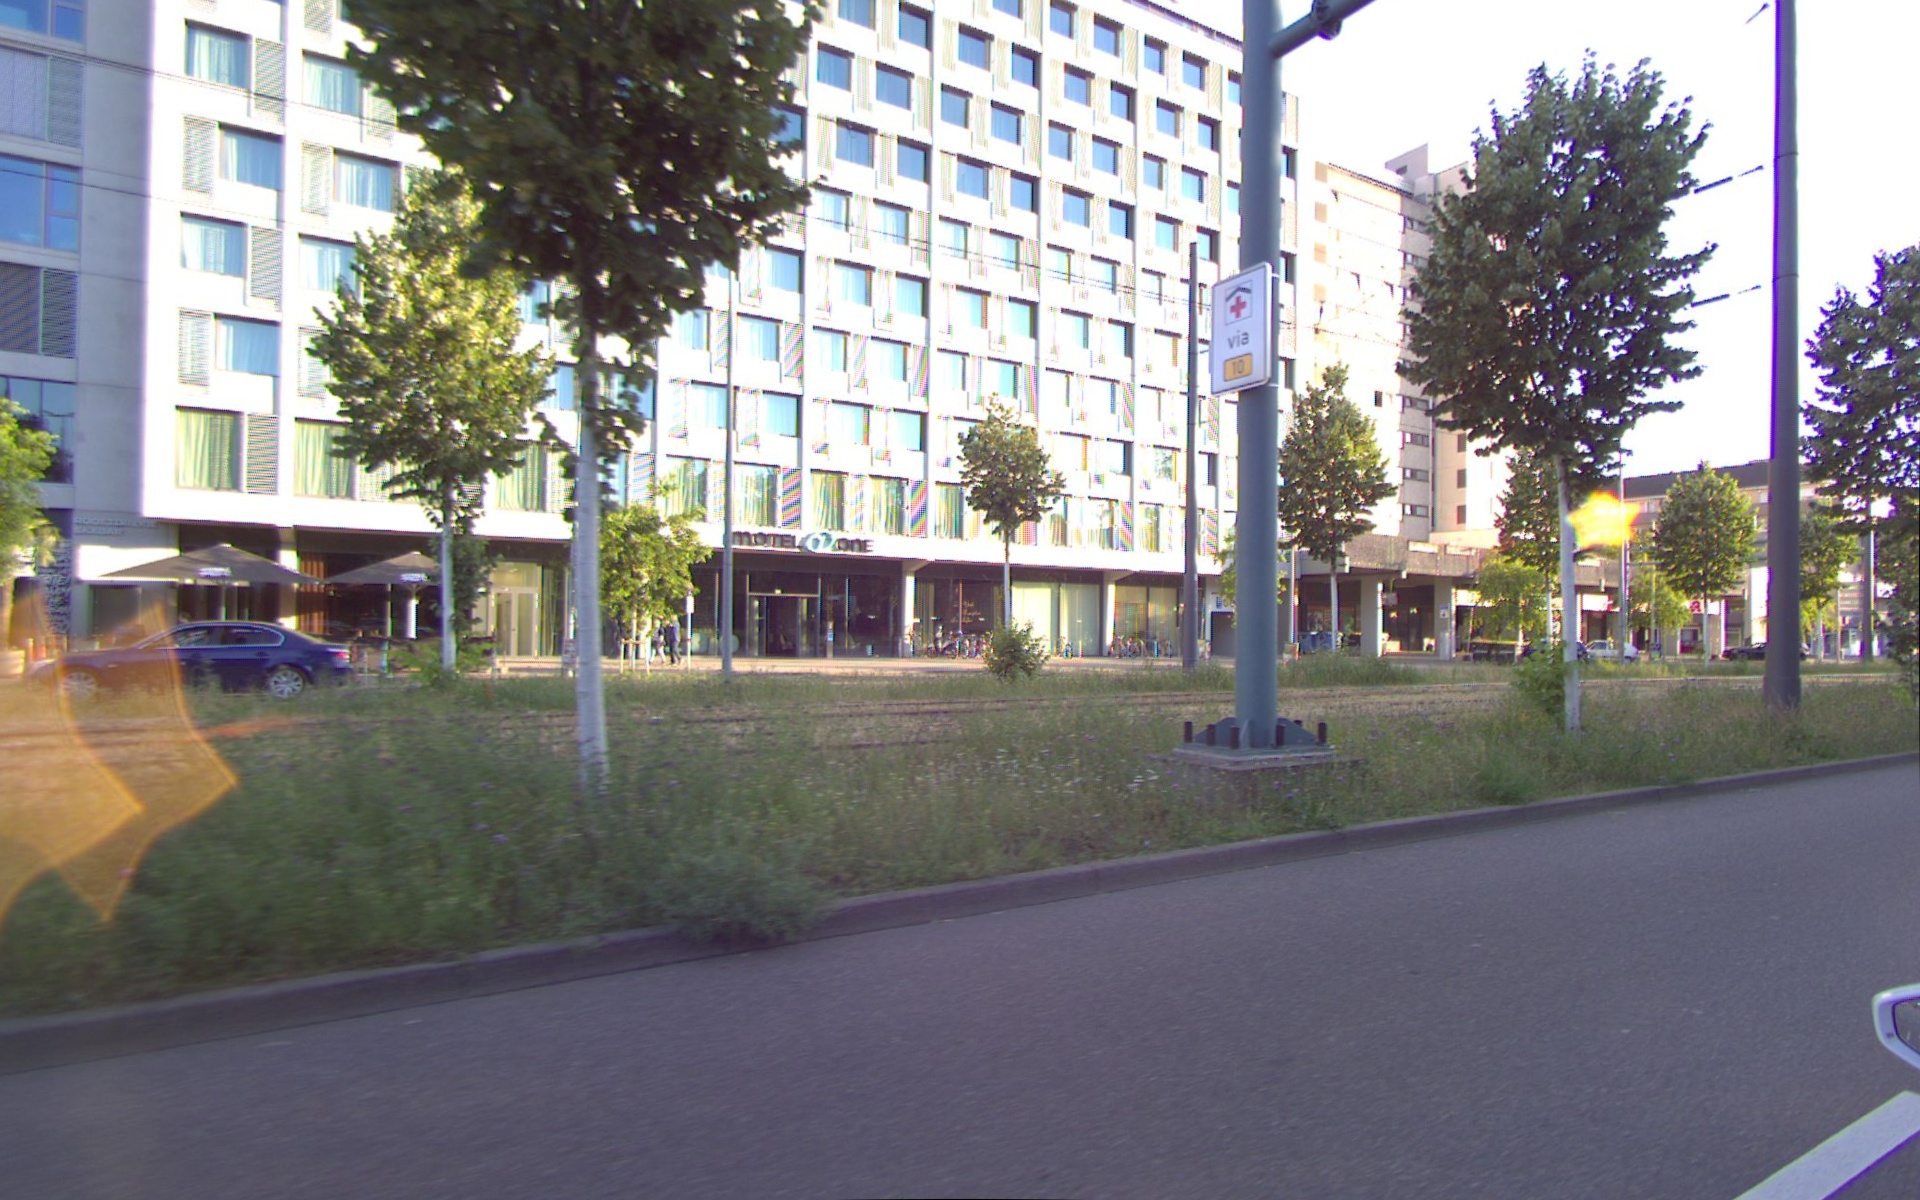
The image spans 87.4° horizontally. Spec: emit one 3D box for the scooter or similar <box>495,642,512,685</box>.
[{"bbox_3d":[-12.709,1.749,27.943,0.334,1.072,1.176,0,4,-30],"label":"scooter or similar"}]

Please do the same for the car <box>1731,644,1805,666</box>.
[{"bbox_3d":[57.046,3.913,70.993,3.657,1.469,1.745,0,-3,20],"label":"car"}]

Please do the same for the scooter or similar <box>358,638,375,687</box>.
[{"bbox_3d":[-15.530,1.619,26.281,0.334,1.233,1.176,1,-1,-30],"label":"scooter or similar"}]

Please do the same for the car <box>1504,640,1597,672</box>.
[{"bbox_3d":[33.194,3.122,56.620,4.201,1.611,2.009,1,-2,20],"label":"car"}]

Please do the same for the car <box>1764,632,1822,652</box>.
[{"bbox_3d":[82.294,4.166,99.279,2.167,1.870,3.913,2,-2,-31],"label":"car"}]

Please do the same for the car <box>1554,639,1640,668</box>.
[{"bbox_3d":[38.140,3.204,60.269,4.051,1.455,1.825,2,0,22],"label":"car"}]

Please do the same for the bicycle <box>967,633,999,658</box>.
[{"bbox_3d":[1.003,2.005,44.274,0.417,1.033,1.776,2,-2,-34],"label":"bicycle"}]

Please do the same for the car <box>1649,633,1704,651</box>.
[{"bbox_3d":[76.102,4.500,106.722,2.144,1.792,4.304,0,-3,-33],"label":"car"}]

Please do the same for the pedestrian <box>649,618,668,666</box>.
[{"bbox_3d":[-10.575,1.474,35.216,0.510,1.678,0.426,1,1,-30],"label":"pedestrian"}]

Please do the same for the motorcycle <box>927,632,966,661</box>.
[{"bbox_3d":[-0.616,2.009,43.795,1.872,1.187,0.513,0,-1,45],"label":"motorcycle"}]

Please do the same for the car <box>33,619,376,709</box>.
[{"bbox_3d":[-13.482,1.137,18.394,4.744,1.459,2.006,1,-3,-30],"label":"car"}]

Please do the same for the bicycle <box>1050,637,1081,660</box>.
[{"bbox_3d":[4.923,2.248,47.033,0.417,1.033,1.776,2,-2,-34],"label":"bicycle"}]

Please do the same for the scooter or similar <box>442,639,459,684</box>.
[{"bbox_3d":[-13.852,1.654,27.290,0.334,1.179,1.176,1,-2,-30],"label":"scooter or similar"}]

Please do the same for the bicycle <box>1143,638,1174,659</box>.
[{"bbox_3d":[10.278,2.524,52.099,0.417,1.033,1.776,2,-2,-34],"label":"bicycle"}]

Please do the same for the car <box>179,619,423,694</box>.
[{"bbox_3d":[-13.951,1.171,21.520,4.177,1.459,1.875,2,-2,-32],"label":"car"}]

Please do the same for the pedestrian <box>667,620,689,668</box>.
[{"bbox_3d":[-9.783,1.520,34.841,0.596,1.621,0.494,1,1,-30],"label":"pedestrian"}]

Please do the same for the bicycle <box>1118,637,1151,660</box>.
[{"bbox_3d":[8.461,2.337,48.795,0.417,1.033,1.776,2,0,-34],"label":"bicycle"}]

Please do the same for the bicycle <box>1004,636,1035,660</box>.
[{"bbox_3d":[2.693,2.152,45.529,0.417,1.033,1.732,2,-2,-34],"label":"bicycle"}]
